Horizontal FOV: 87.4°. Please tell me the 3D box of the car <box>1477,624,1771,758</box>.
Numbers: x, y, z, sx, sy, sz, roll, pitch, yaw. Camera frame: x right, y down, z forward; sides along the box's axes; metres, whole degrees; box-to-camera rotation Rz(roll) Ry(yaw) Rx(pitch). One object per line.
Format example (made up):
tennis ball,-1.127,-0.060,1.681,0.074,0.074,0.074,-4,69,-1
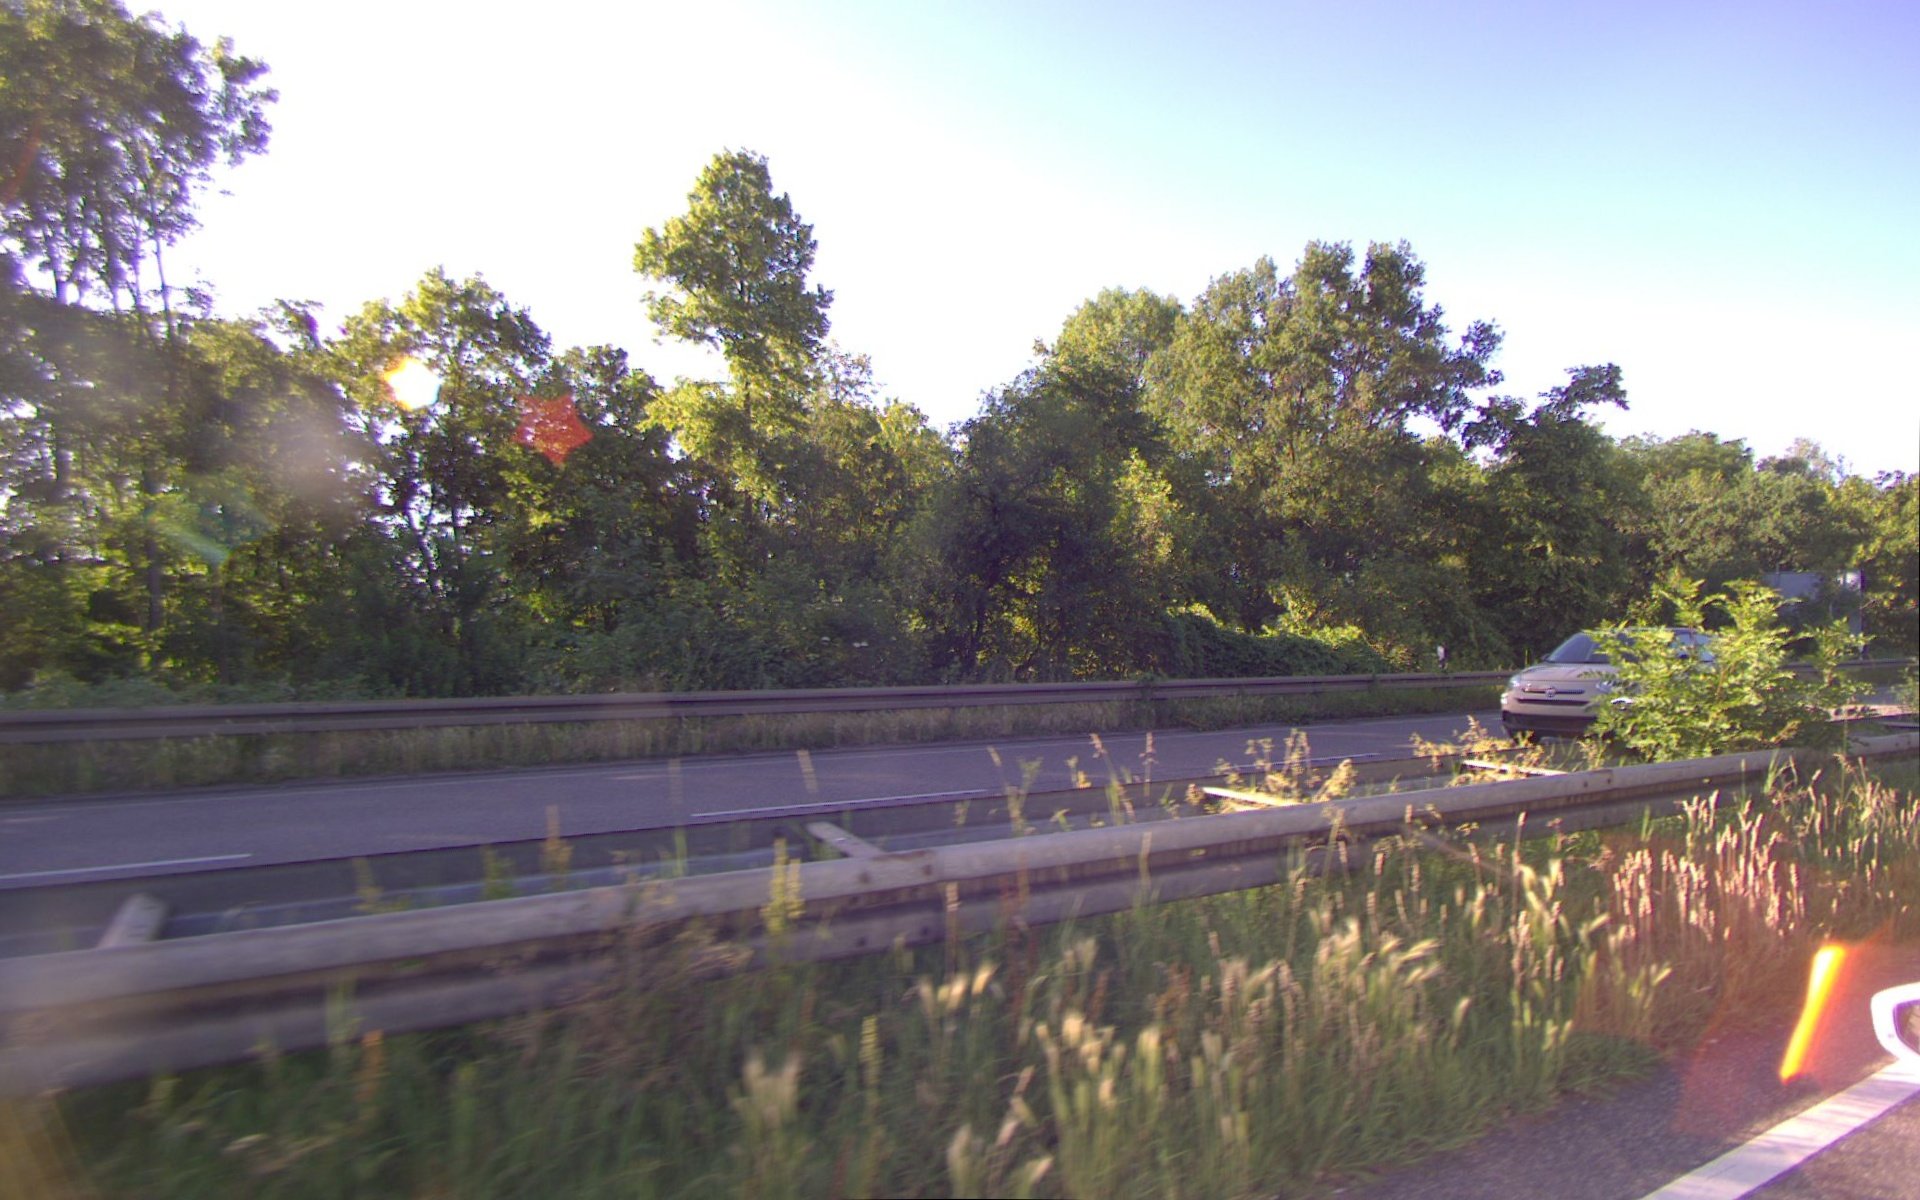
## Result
car,9.166,1.140,13.795,4.170,1.590,1.760,1,-2,-31
